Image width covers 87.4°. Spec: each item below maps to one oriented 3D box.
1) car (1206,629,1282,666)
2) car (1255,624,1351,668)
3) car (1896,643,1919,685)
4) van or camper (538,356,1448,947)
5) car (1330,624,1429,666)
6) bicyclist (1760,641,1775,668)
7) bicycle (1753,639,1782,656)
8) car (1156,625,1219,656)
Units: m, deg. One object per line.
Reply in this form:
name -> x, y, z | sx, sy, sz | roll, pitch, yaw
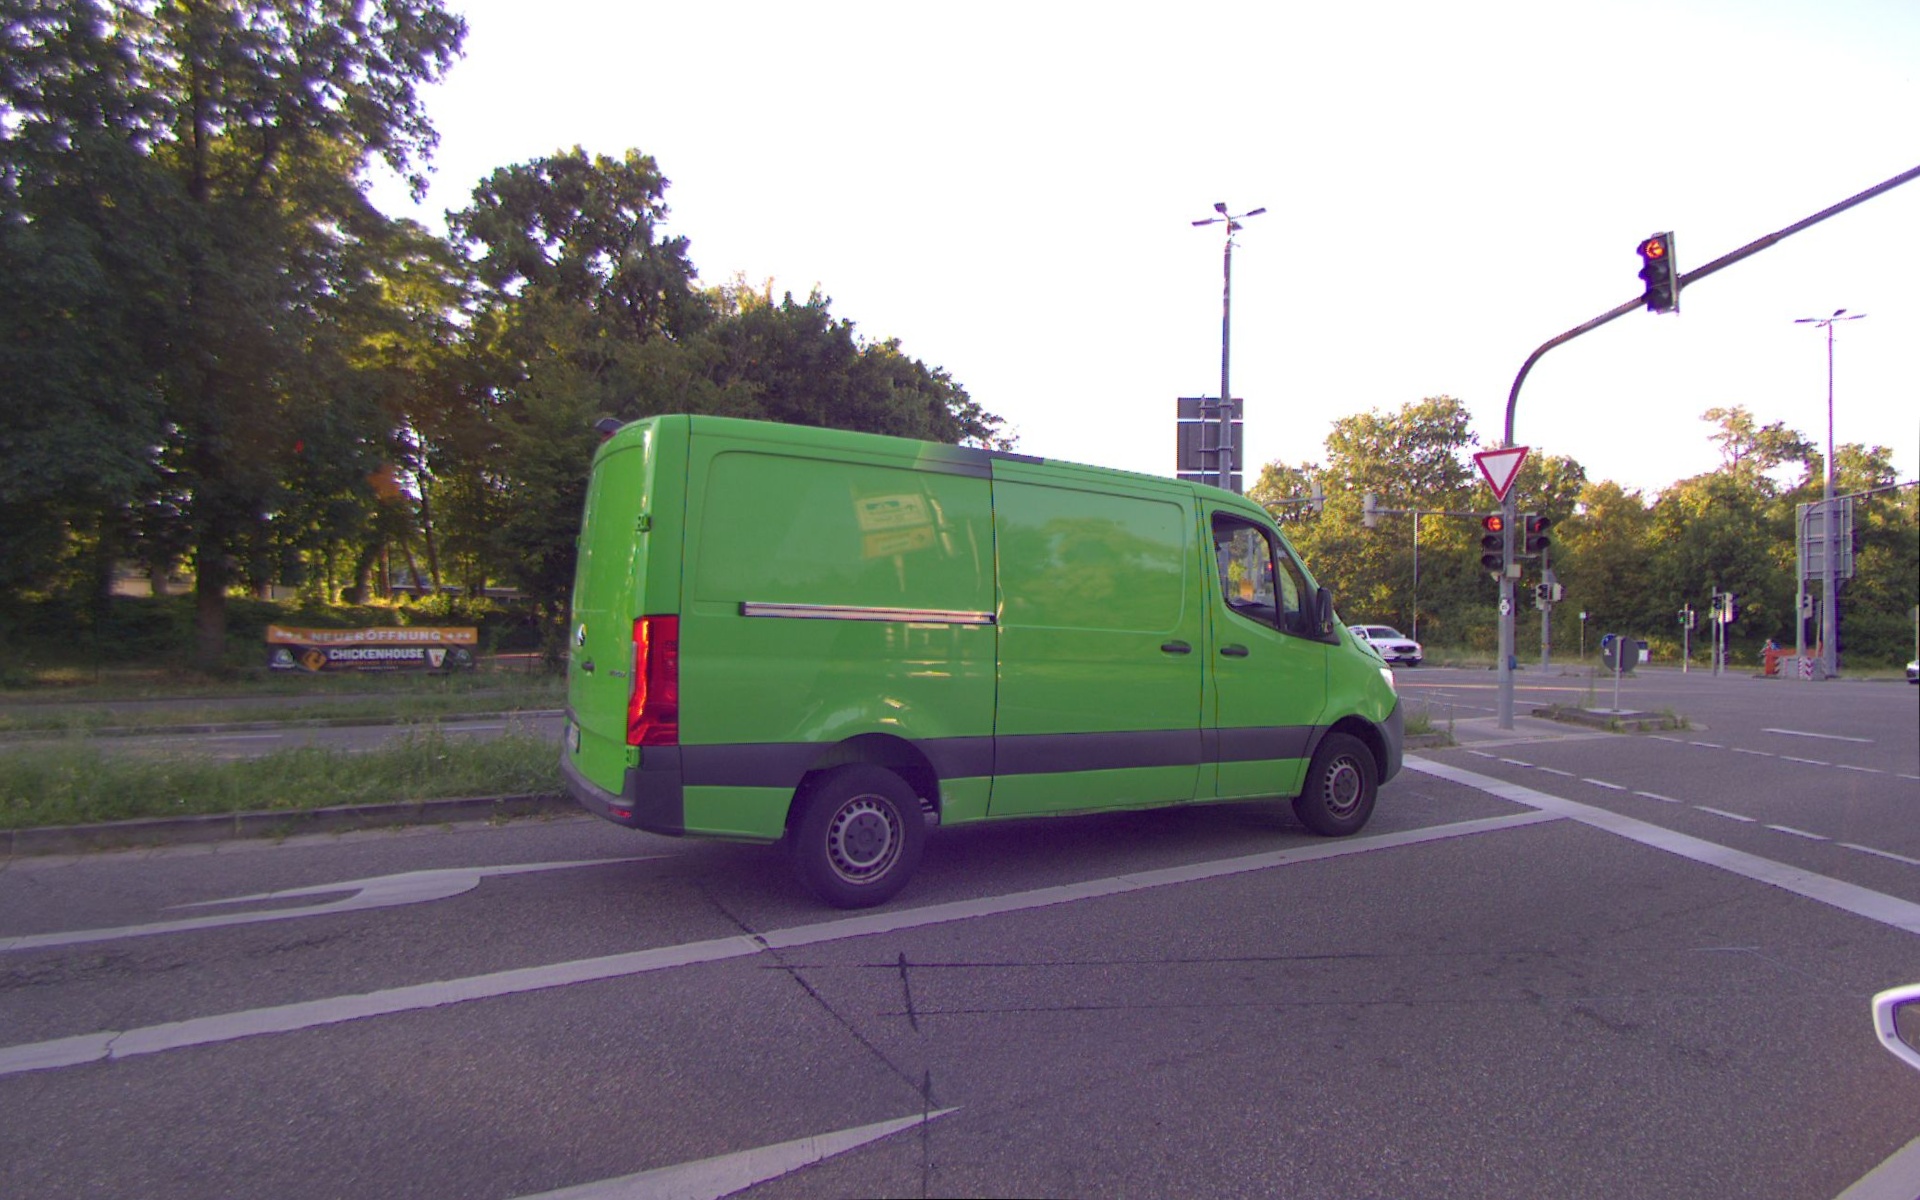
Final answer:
car -> 13.496, 2.231, 48.048 | 1.963, 1.661, 4.252 | 1, -1, -8
car -> 13.806, 1.819, 40.699 | 1.963, 1.661, 4.252 | 1, -1, -8
car -> 36.208, 2.339, 36.429 | 4.441, 1.460, 1.885 | 2, -1, -26
van or camper -> 0.535, 0.293, 6.566 | 5.830, 2.453, 1.983 | 2, -1, -32
car -> 17.493, 1.853, 42.106 | 1.963, 1.661, 4.252 | 1, -1, -8
bicyclist -> 42.692, 2.855, 53.122 | 0.509, 1.406, 0.407 | 0, -1, 19
bicycle -> 42.704, 2.517, 53.124 | 1.084, 0.836, 0.413 | 0, -1, 20
car -> 12.683, 2.222, 56.201 | 1.964, 1.661, 4.250 | 1, -1, -10
